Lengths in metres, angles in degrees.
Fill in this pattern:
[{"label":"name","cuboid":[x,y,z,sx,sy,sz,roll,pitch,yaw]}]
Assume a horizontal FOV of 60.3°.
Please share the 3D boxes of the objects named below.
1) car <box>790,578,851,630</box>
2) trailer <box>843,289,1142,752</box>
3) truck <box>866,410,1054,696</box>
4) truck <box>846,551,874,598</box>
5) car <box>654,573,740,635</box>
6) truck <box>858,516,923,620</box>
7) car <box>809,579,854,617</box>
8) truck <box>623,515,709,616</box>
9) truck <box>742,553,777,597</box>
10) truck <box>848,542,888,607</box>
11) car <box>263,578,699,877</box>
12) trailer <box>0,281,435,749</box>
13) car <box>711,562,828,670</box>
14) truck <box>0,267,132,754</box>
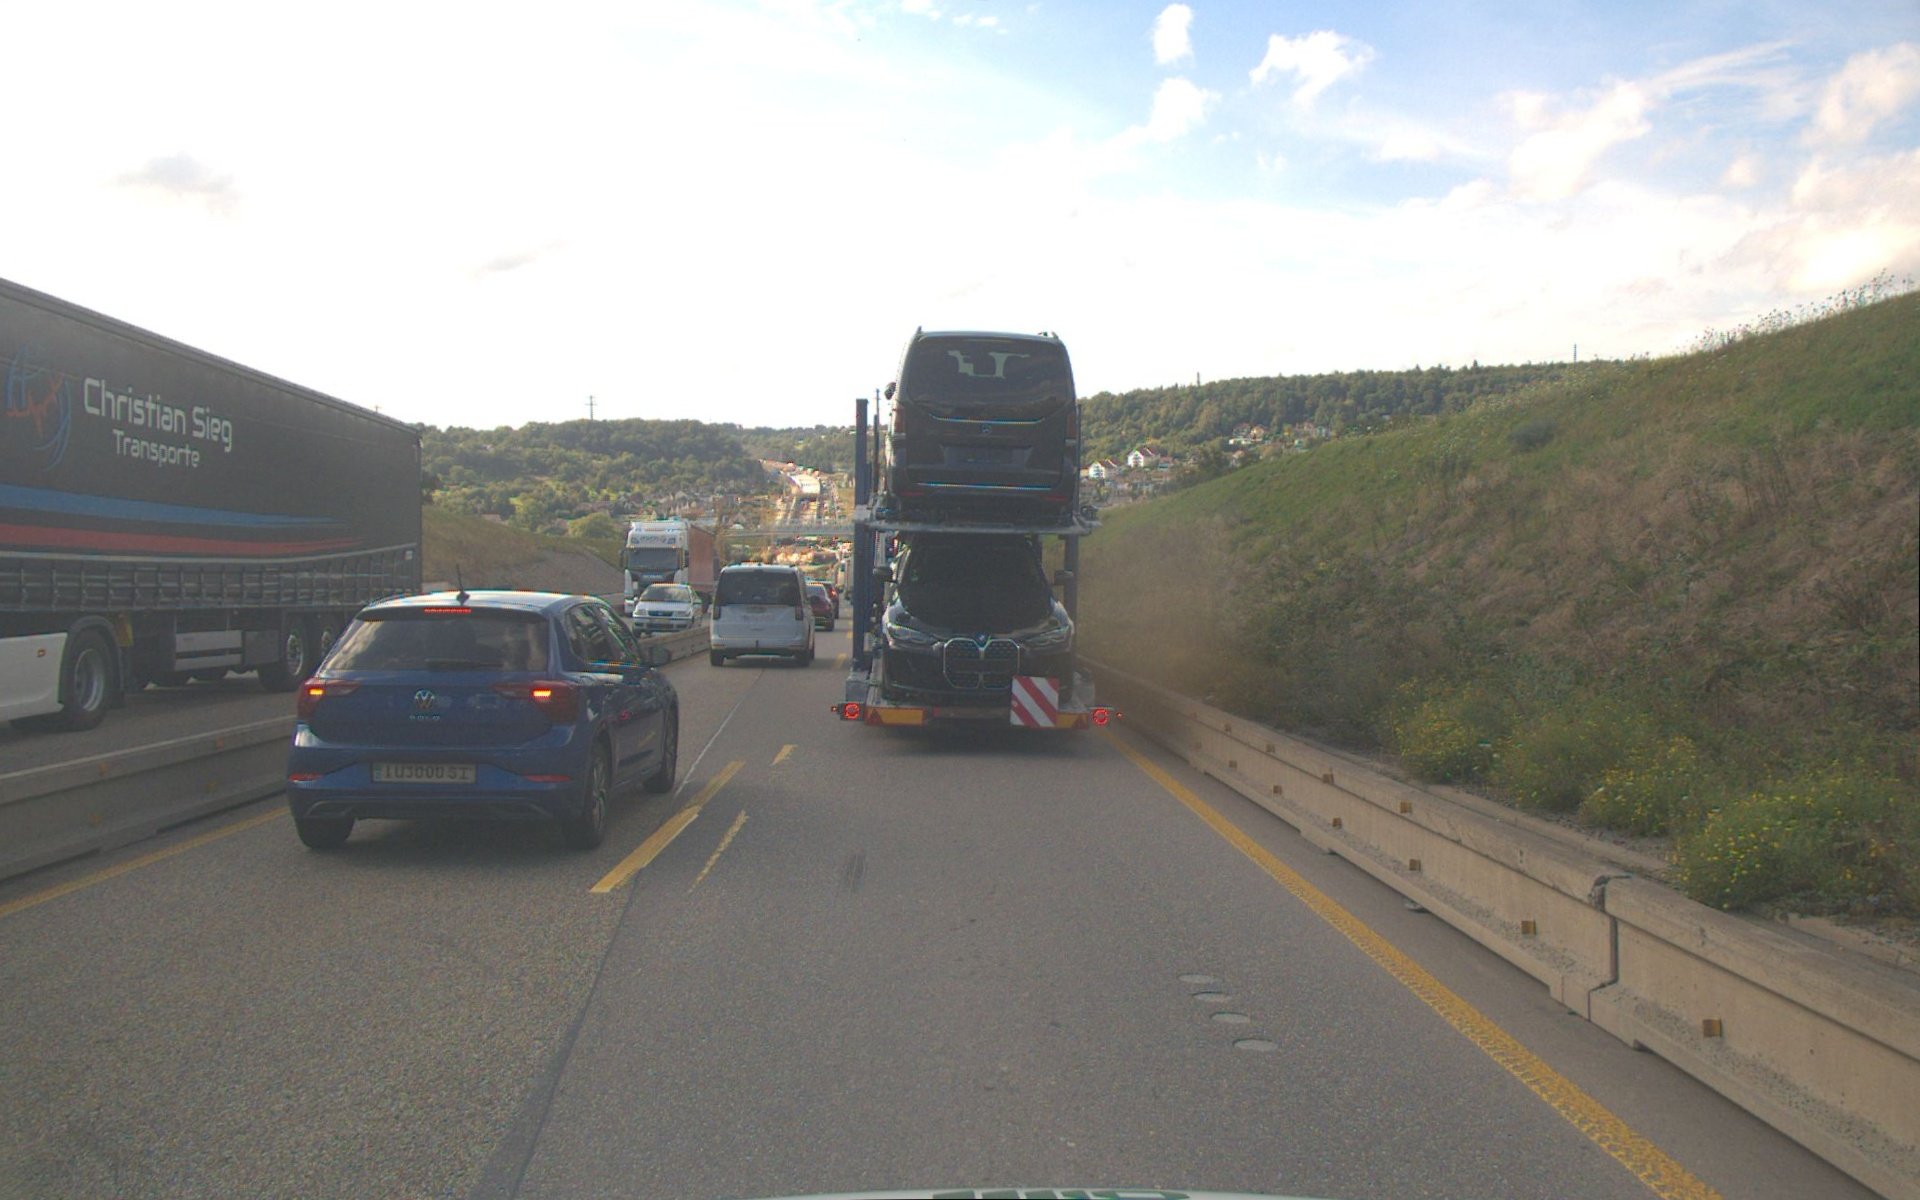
[{"label":"car","cuboid":[-4.480,0.094,53.551,1.787,1.518,4.682,1,1,-3]},{"label":"trailer","cuboid":[0.114,-0.759,20.412,2.653,4.099,11.415,0,1,-2]},{"label":"truck","cuboid":[-0.092,-0.688,26.164,2.624,3.990,6.025,0,1,-2]},{"label":"truck","cuboid":[-10.436,-2.614,171.764,2.807,4.650,11.648,0,1,-4]},{"label":"car","cuboid":[-7.988,0.091,50.732,1.909,1.777,5.576,1,0,-2]},{"label":"truck","cuboid":[-3.484,-1.504,80.146,2.807,4.650,11.648,0,1,-4]},{"label":"car","cuboid":[-5.734,-0.102,74.054,1.954,1.653,4.746,0,1,-4]},{"label":"truck","cuboid":[-12.978,-1.486,73.843,2.586,4.171,10.810,0,1,-4]},{"label":"truck","cuboid":[-19.561,-2.427,161.889,2.586,4.171,10.812,0,1,-3]},{"label":"truck","cuboid":[-6.990,-1.909,124.495,2.807,4.650,11.648,0,1,-4]},{"label":"car","cuboid":[-2.798,0.647,10.582,1.680,1.534,3.999,1,0,-1]},{"label":"trailer","cuboid":[-9.804,-0.805,20.704,2.562,4.023,13.868,0,1,-2]},{"label":"car","cuboid":[-3.548,0.244,31.474,1.786,1.855,4.455,1,1,-2]},{"label":"truck","cuboid":[-9.593,-0.777,13.883,2.562,4.226,5.779,0,0,-2]}]
